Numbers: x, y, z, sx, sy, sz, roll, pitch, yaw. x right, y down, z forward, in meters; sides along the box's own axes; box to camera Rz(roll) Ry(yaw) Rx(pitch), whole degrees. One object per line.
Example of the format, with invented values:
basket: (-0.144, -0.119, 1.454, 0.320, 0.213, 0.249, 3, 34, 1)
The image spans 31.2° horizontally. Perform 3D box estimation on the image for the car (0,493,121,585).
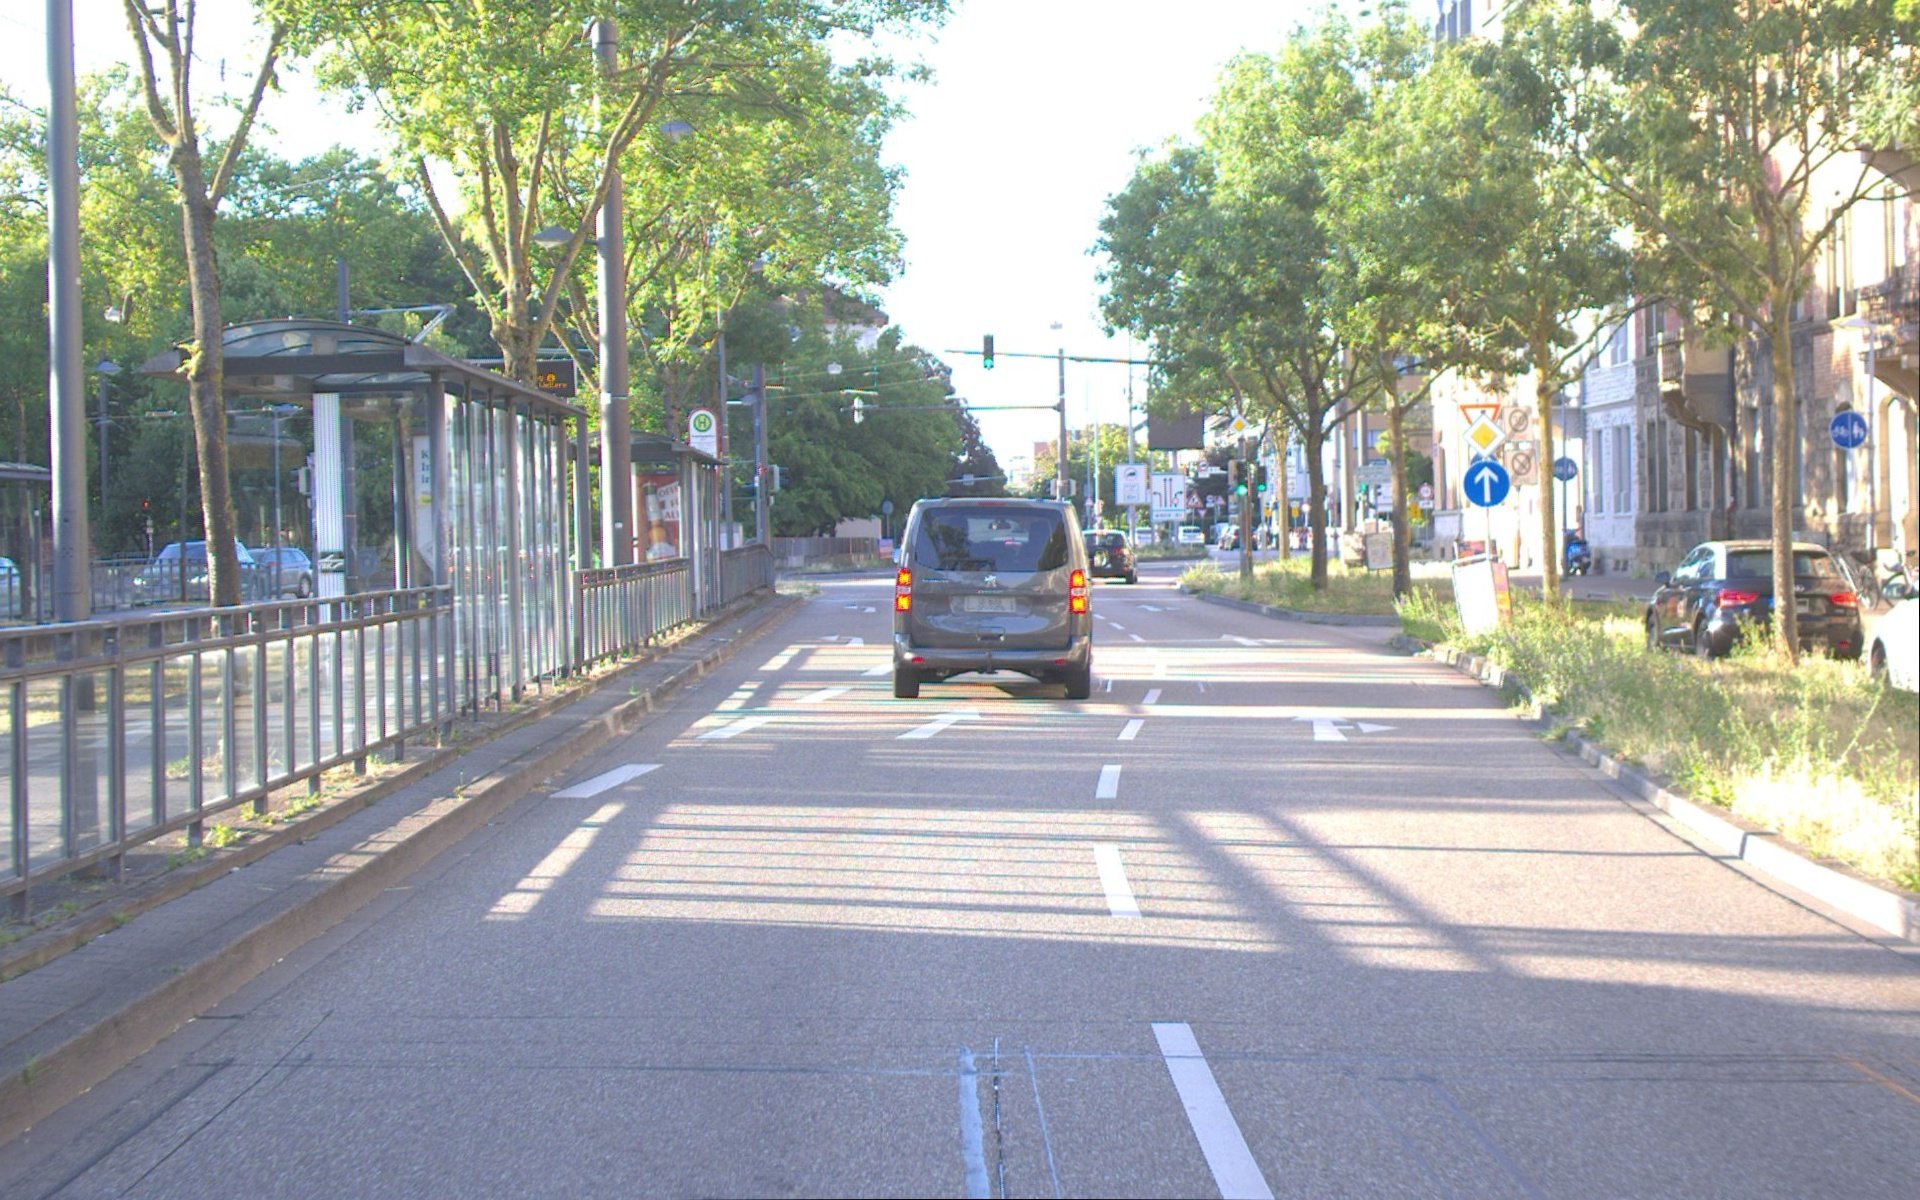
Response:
car: (-16.974, -1.140, 63.780, 1.859, 1.648, 4.000, 0, 1, -1)

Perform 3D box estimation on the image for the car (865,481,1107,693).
car: (0.324, -0.157, 33.363, 1.994, 1.894, 4.298, 1, 1, 5)

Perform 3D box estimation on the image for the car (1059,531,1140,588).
car: (3.792, -1.125, 94.271, 1.993, 1.505, 4.000, 0, 1, -1)

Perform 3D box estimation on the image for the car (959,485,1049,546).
car: (1.096, -2.156, 87.543, 1.993, 1.505, 4.001, 0, 1, -3)

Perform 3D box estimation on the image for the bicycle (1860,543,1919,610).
bicycle: (14.227, -0.370, 51.887, 0.733, 0.945, 2.339, -2, 1, 3)

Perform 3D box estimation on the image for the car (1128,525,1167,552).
car: (12.058, -3.963, 221.056, 1.993, 1.651, 4.300, -1, 1, -3)

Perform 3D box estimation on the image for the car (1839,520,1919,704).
car: (8.726, 0.120, 28.362, 1.725, 1.507, 4.273, 2, 1, -1)

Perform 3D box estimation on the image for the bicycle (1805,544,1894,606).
bicycle: (14.067, -0.405, 54.443, 0.872, 0.913, 2.085, -2, 1, 1)

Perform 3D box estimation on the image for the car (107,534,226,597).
car: (-18.222, -0.808, 79.098, 1.794, 1.410, 4.341, 0, 1, -1)

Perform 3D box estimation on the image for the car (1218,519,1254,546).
car: (17.444, -4.275, 217.228, 1.993, 1.651, 4.299, -1, 1, 1)

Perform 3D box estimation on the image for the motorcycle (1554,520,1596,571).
motorcycle: (14.961, -1.334, 83.648, 0.553, 1.210, 2.073, 0, 1, -2)

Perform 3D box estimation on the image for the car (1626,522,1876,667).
car: (8.623, -0.105, 37.825, 1.704, 1.443, 4.289, 2, 1, 0)

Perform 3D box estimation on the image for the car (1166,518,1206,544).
car: (14.514, -4.438, 220.941, 1.993, 1.651, 4.300, -1, 1, -3)
